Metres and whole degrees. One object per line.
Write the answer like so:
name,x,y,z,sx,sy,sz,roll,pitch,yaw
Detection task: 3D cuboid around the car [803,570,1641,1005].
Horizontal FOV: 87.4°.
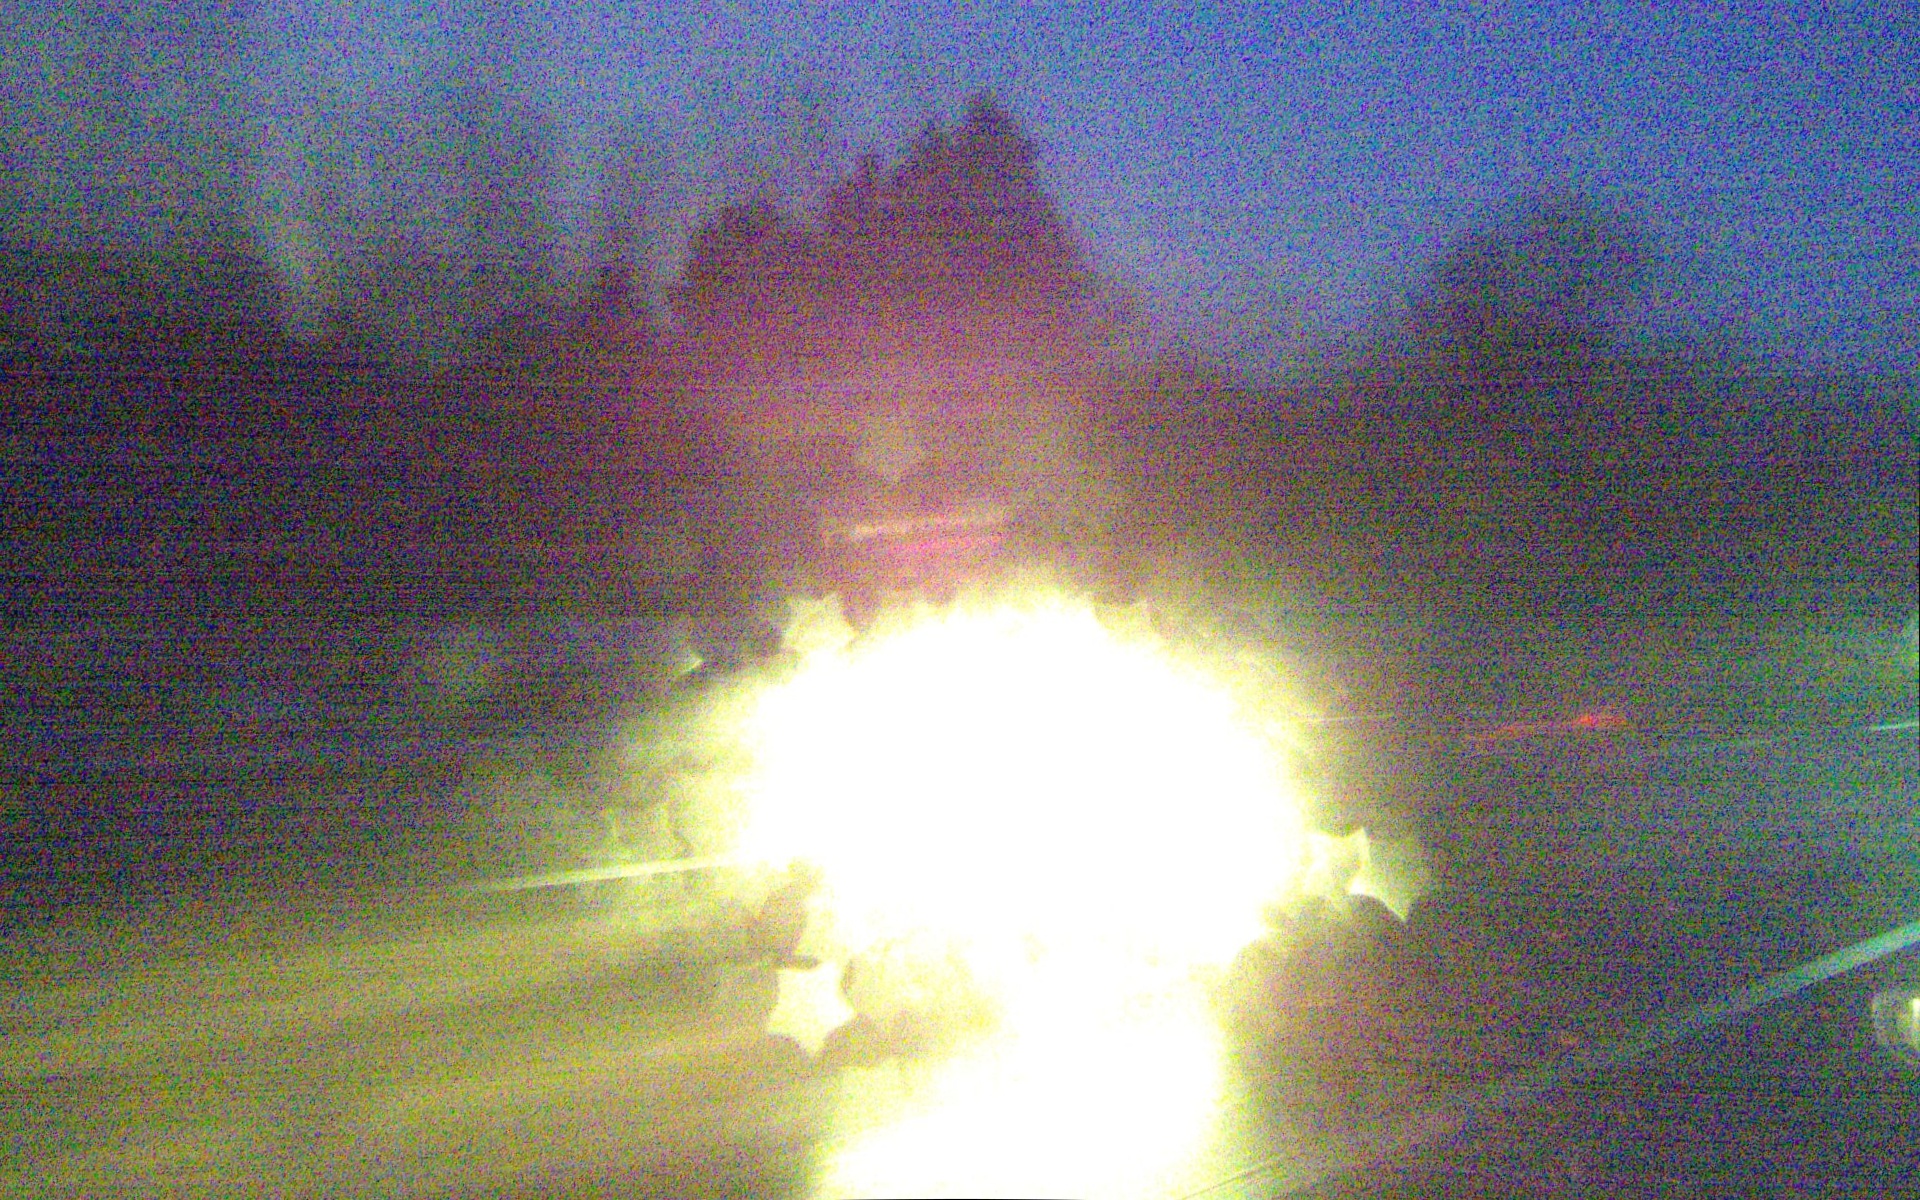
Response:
car,1.640,0.726,5.739,4.608,1.597,1.983,1,0,-31
